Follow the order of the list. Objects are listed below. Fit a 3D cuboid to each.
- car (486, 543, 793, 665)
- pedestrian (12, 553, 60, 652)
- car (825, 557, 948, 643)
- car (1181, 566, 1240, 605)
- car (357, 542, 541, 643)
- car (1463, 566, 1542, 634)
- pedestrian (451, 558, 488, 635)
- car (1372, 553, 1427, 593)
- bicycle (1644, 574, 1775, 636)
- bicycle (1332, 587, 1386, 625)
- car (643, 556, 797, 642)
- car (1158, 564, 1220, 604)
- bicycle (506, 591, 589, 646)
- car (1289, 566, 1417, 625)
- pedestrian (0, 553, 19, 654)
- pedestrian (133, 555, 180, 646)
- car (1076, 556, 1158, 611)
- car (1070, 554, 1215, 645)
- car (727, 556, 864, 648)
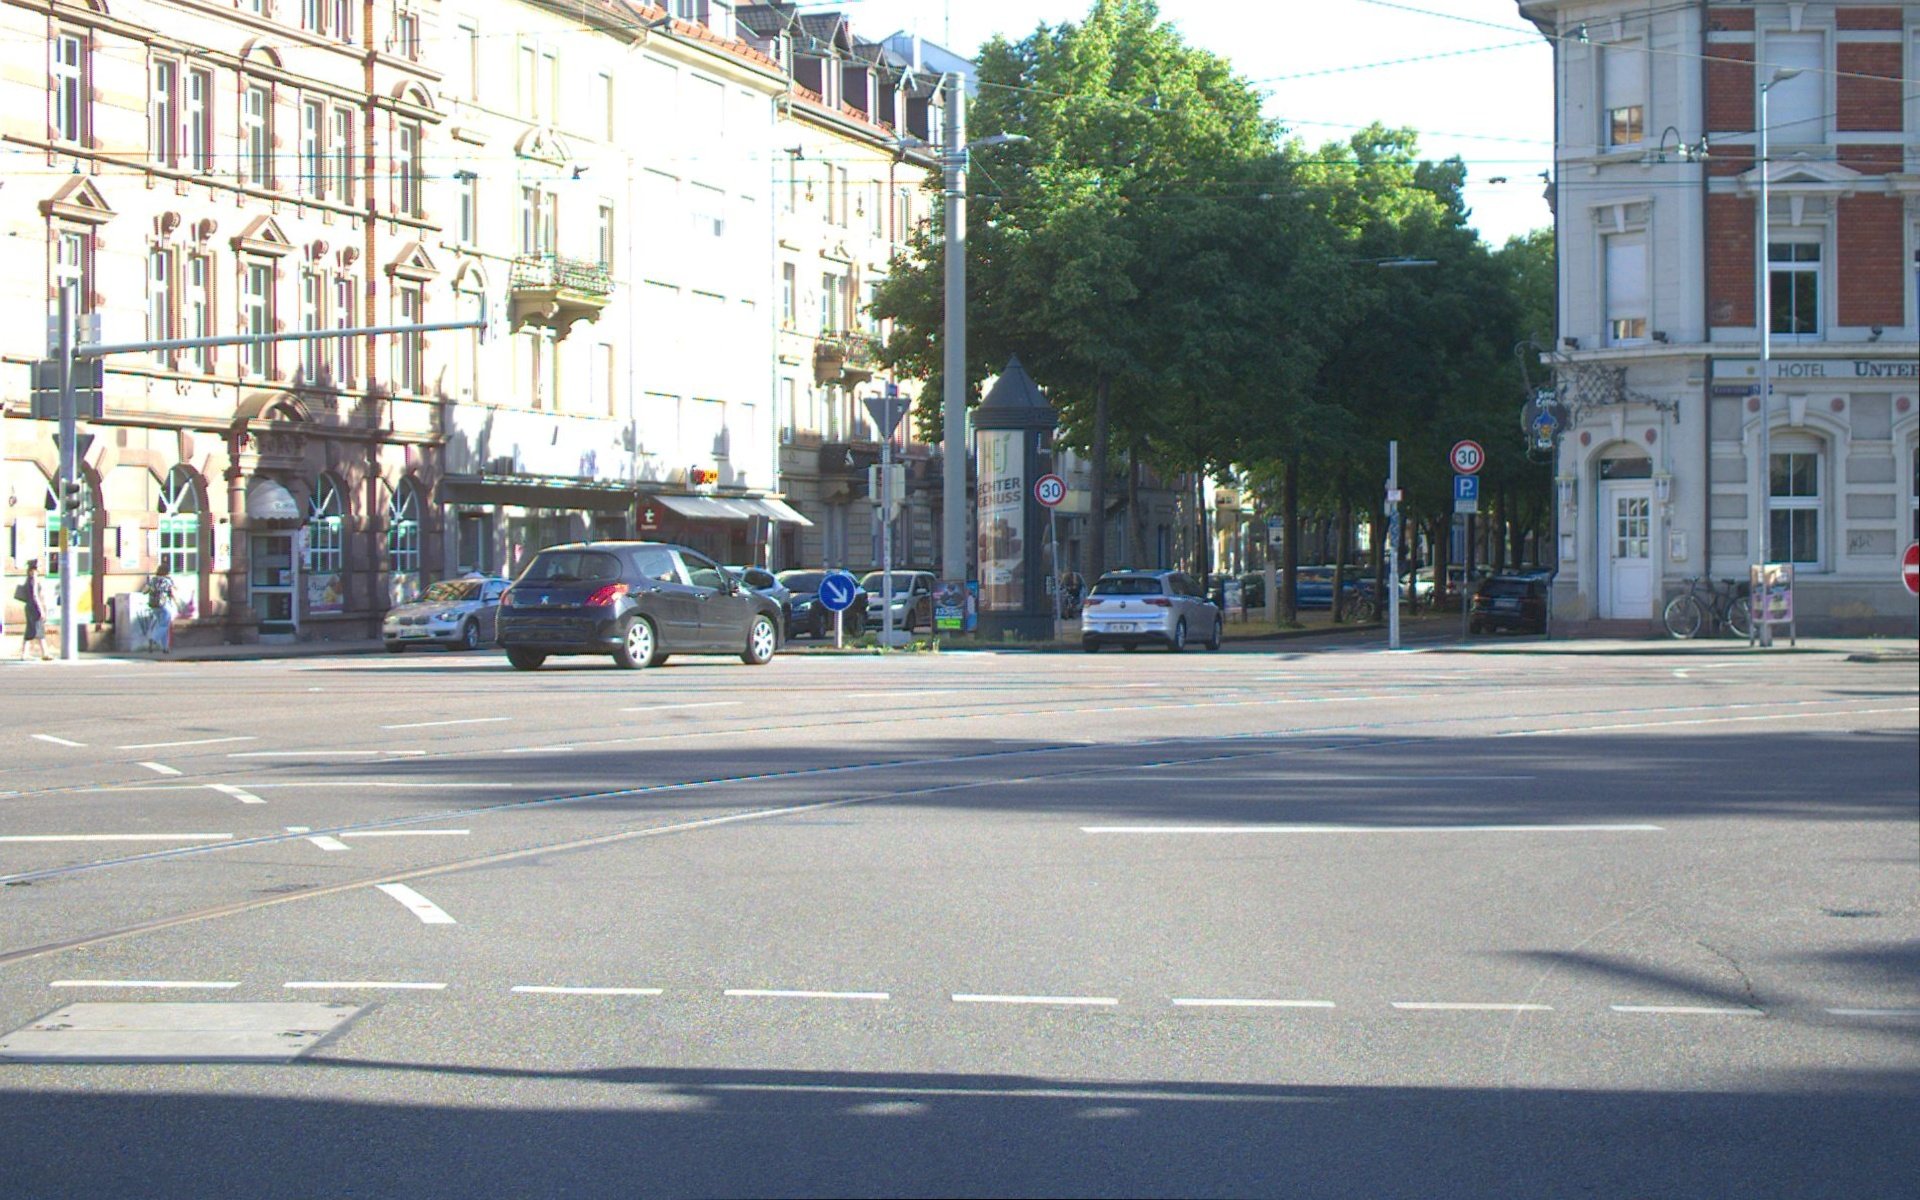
[{"bbox_3d":[-3.749,0.030,40.831,1.757,1.357,3.849,1,1,29],"label":"car"},{"bbox_3d":[-15.333,0.038,57.076,0.633,1.628,0.701,1,0,-4],"label":"pedestrian"},{"bbox_3d":[-1.679,-0.012,79.586,1.994,1.897,3.998,1,1,11],"label":"car"},{"bbox_3d":[9.935,-0.588,136.344,1.560,1.508,3.653,1,1,17],"label":"car"},{"bbox_3d":[-9.935,-0.157,67.158,1.995,1.897,3.997,1,1,17],"label":"car"},{"bbox_3d":[13.057,-0.012,82.602,1.692,1.559,3.839,1,1,11],"label":"car"},{"bbox_3d":[-10.521,-0.080,73.761,0.544,1.626,0.706,1,0,13],"label":"pedestrian"},{"bbox_3d":[17.217,-1.061,134.547,1.560,1.508,3.653,1,1,17],"label":"car"},{"bbox_3d":[12.443,0.086,57.102,2.049,0.994,0.630,1,0,3],"label":"bicycle"},{"bbox_3d":[11.495,0.173,99.080,0.626,1.081,1.703,1,1,-31],"label":"bicycle"},{"bbox_3d":[-4.675,-0.033,67.520,1.994,1.612,3.998,1,1,11],"label":"car"},{"bbox_3d":[8.828,-0.632,132.311,1.560,1.508,3.653,1,1,17],"label":"car"},{"bbox_3d":[-7.824,0.341,65.296,0.763,1.004,2.395,1,1,13],"label":"bicycle"},{"bbox_3d":[13.150,-0.158,114.983,3.990,1.897,1.998,1,0,16],"label":"car"},{"bbox_3d":[-15.622,0.049,55.582,0.633,1.628,0.701,1,0,-4],"label":"pedestrian"},{"bbox_3d":[-14.421,0.006,61.727,0.544,1.626,0.706,1,0,13],"label":"pedestrian"},{"bbox_3d":[5.630,-0.587,122.810,1.995,1.897,3.997,1,1,17],"label":"car"},{"bbox_3d":[3.245,-0.029,60.451,1.773,1.525,3.997,1,1,15],"label":"car"},{"bbox_3d":[-3.494,0.022,73.614,1.994,1.897,3.998,1,1,11],"label":"car"}]
